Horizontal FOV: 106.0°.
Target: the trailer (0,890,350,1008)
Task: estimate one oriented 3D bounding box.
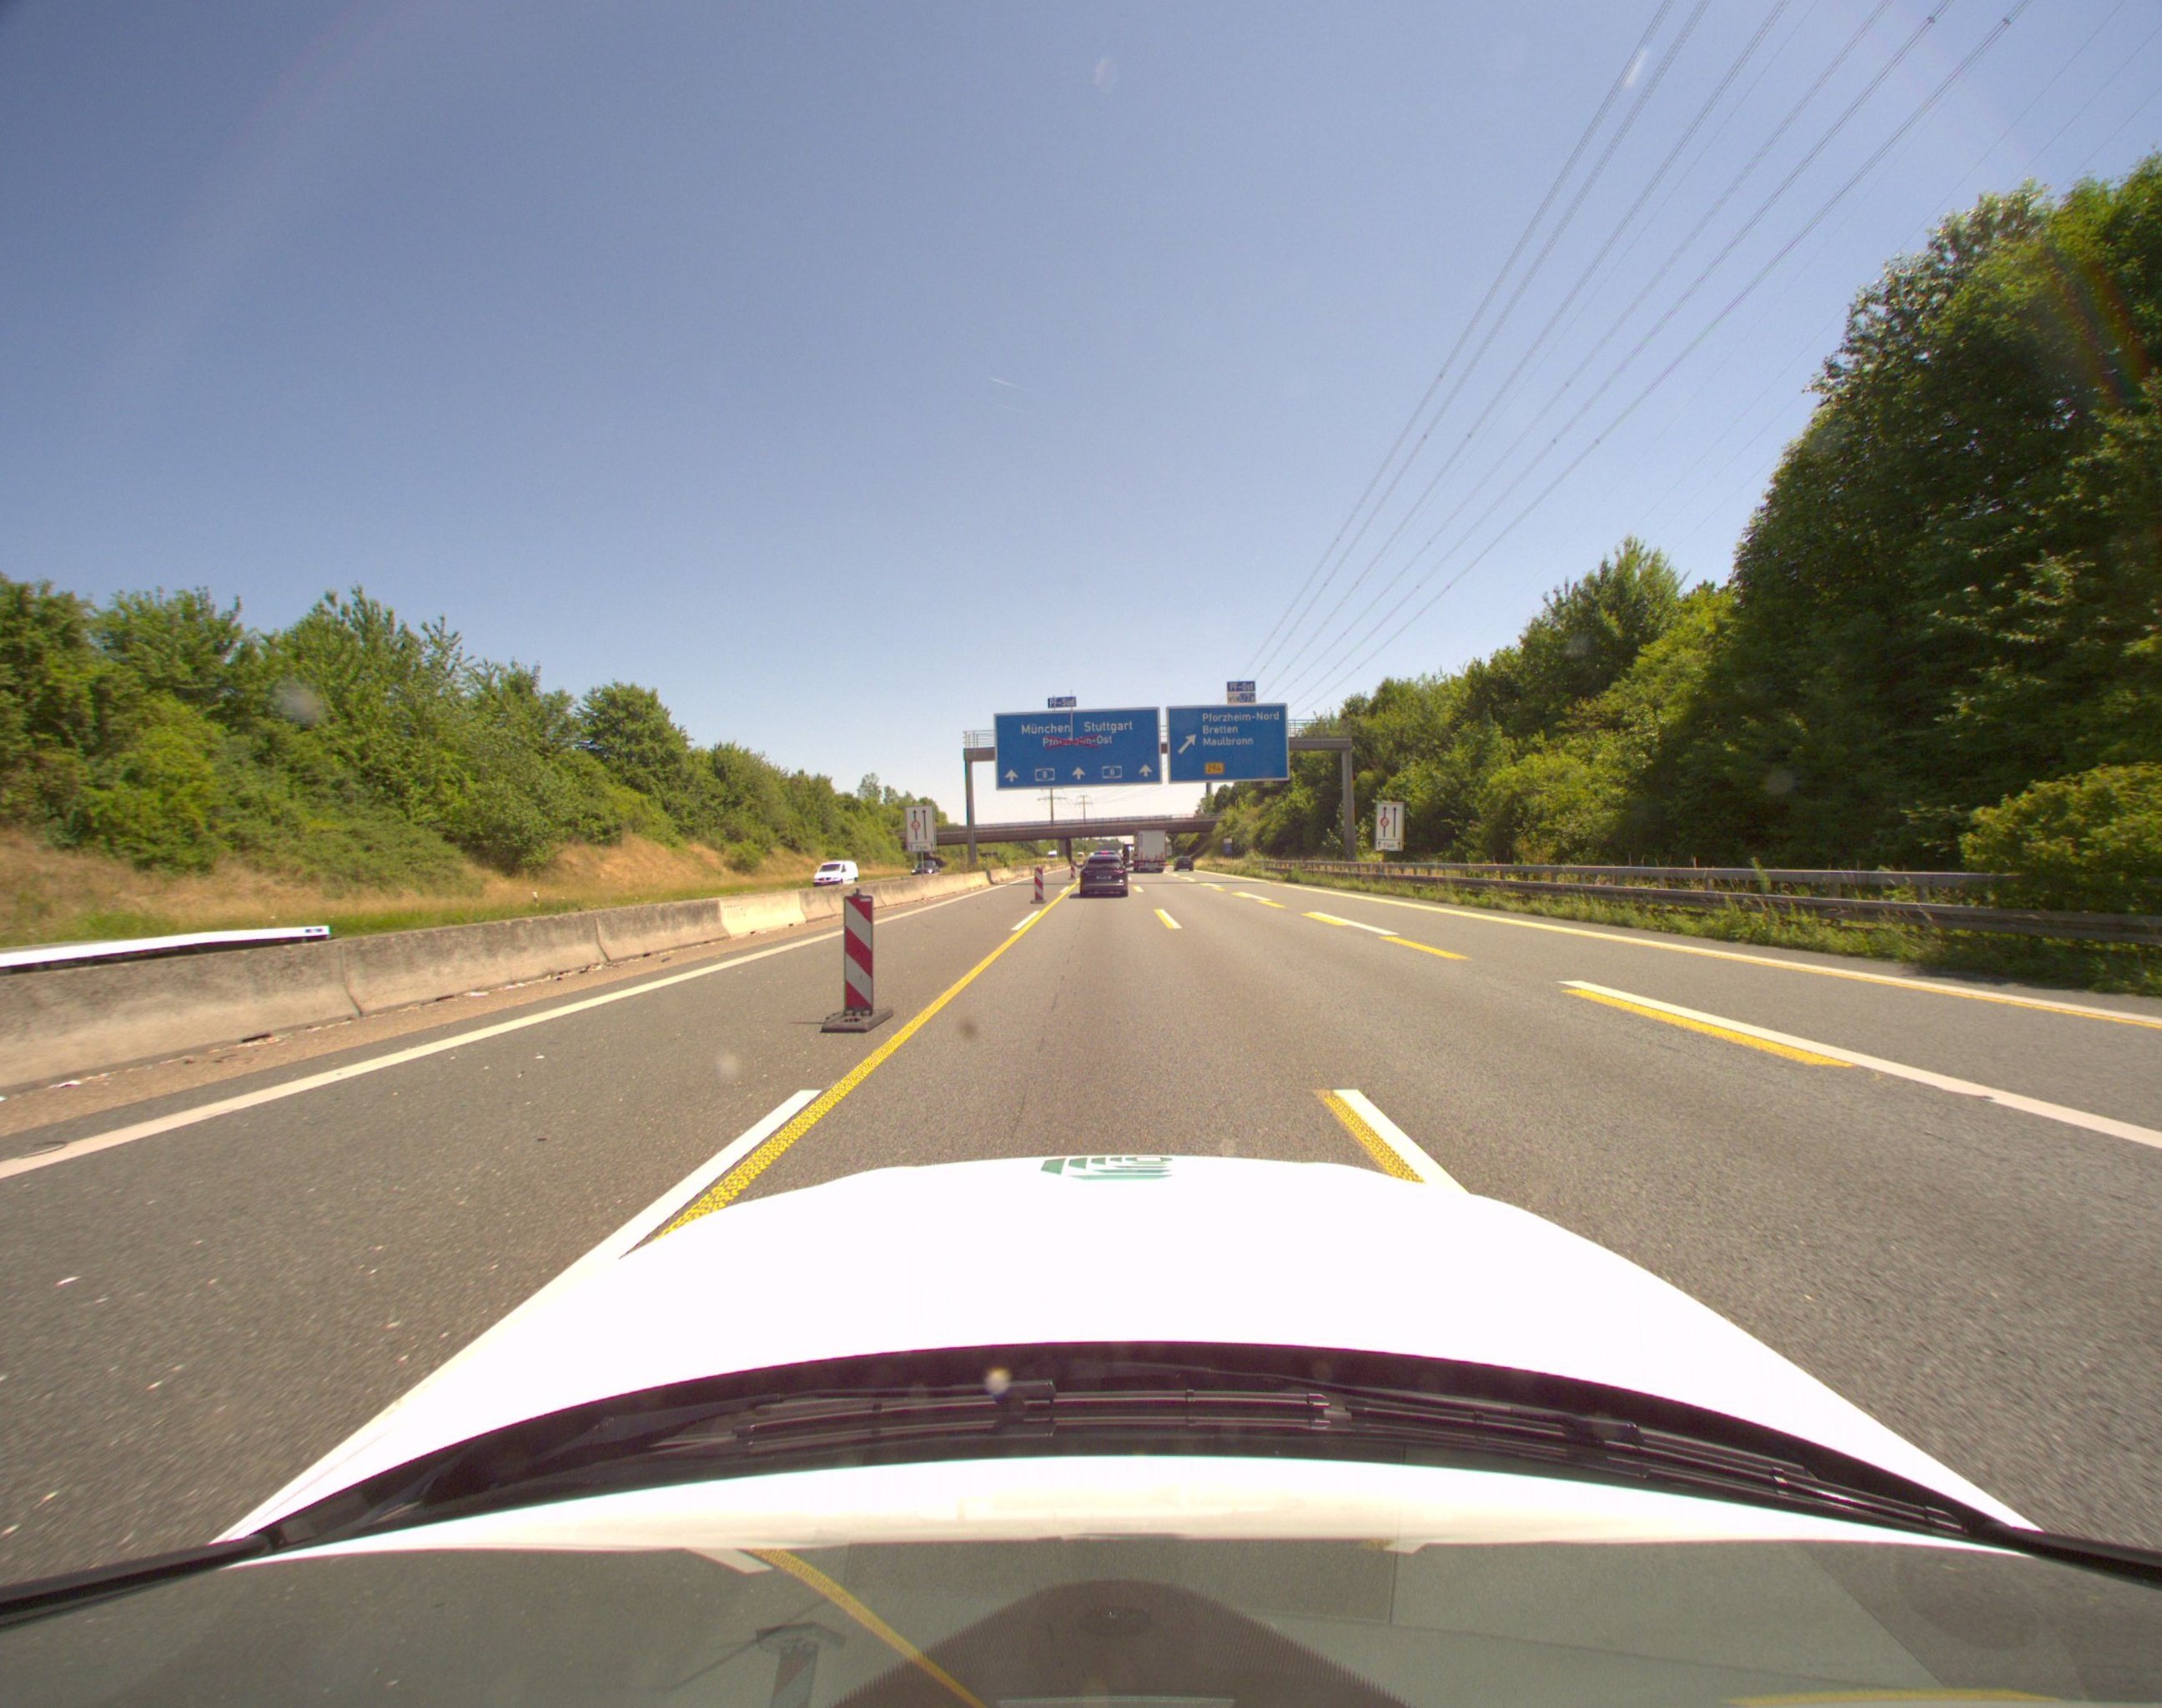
[{"bbox_3d":[-15.292,1.386,11.994,2.347,1.344,7.219,-2,0,2],"label":"trailer"}]

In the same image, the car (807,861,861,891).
[{"bbox_3d":[-17.581,1.514,58.288,1.923,2.013,5.598,-2,0,1],"label":"car"}]

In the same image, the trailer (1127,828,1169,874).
[{"bbox_3d":[6.287,-0.231,78.166,3.055,4.042,11.486,-1,0,0],"label":"trailer"}]

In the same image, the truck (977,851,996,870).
[{"bbox_3d":[-17.457,1.198,150.307,2.486,3.259,6.367,-2,0,1],"label":"truck"}]

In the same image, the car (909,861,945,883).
[{"bbox_3d":[-12.544,1.438,66.594,1.865,1.694,4.500,-2,0,2],"label":"car"}]

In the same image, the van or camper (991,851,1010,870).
[{"bbox_3d":[-14.234,1.109,144.507,2.426,3.147,7.629,-2,0,2],"label":"van or camper"}]

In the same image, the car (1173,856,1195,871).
[{"bbox_3d":[10.473,0.960,83.012,1.772,1.489,4.465,0,0,1],"label":"car"}]

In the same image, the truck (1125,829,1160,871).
[{"bbox_3d":[6.325,-0.394,84.942,3.014,4.087,7.795,-1,0,0],"label":"truck"}]

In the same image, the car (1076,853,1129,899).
[{"bbox_3d":[0.820,0.799,31.852,1.889,1.592,4.443,-2,0,1],"label":"car"}]

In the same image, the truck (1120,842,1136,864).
[{"bbox_3d":[9.170,-0.152,158.952,3.065,4.146,13.063,0,0,3],"label":"truck"}]

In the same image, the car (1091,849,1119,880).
[{"bbox_3d":[1.682,0.706,57.908,1.889,1.841,4.444,1,3,1],"label":"car"}]

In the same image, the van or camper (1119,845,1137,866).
[{"bbox_3d":[7.075,0.236,122.314,2.576,2.968,6.089,1,0,3],"label":"van or camper"}]
